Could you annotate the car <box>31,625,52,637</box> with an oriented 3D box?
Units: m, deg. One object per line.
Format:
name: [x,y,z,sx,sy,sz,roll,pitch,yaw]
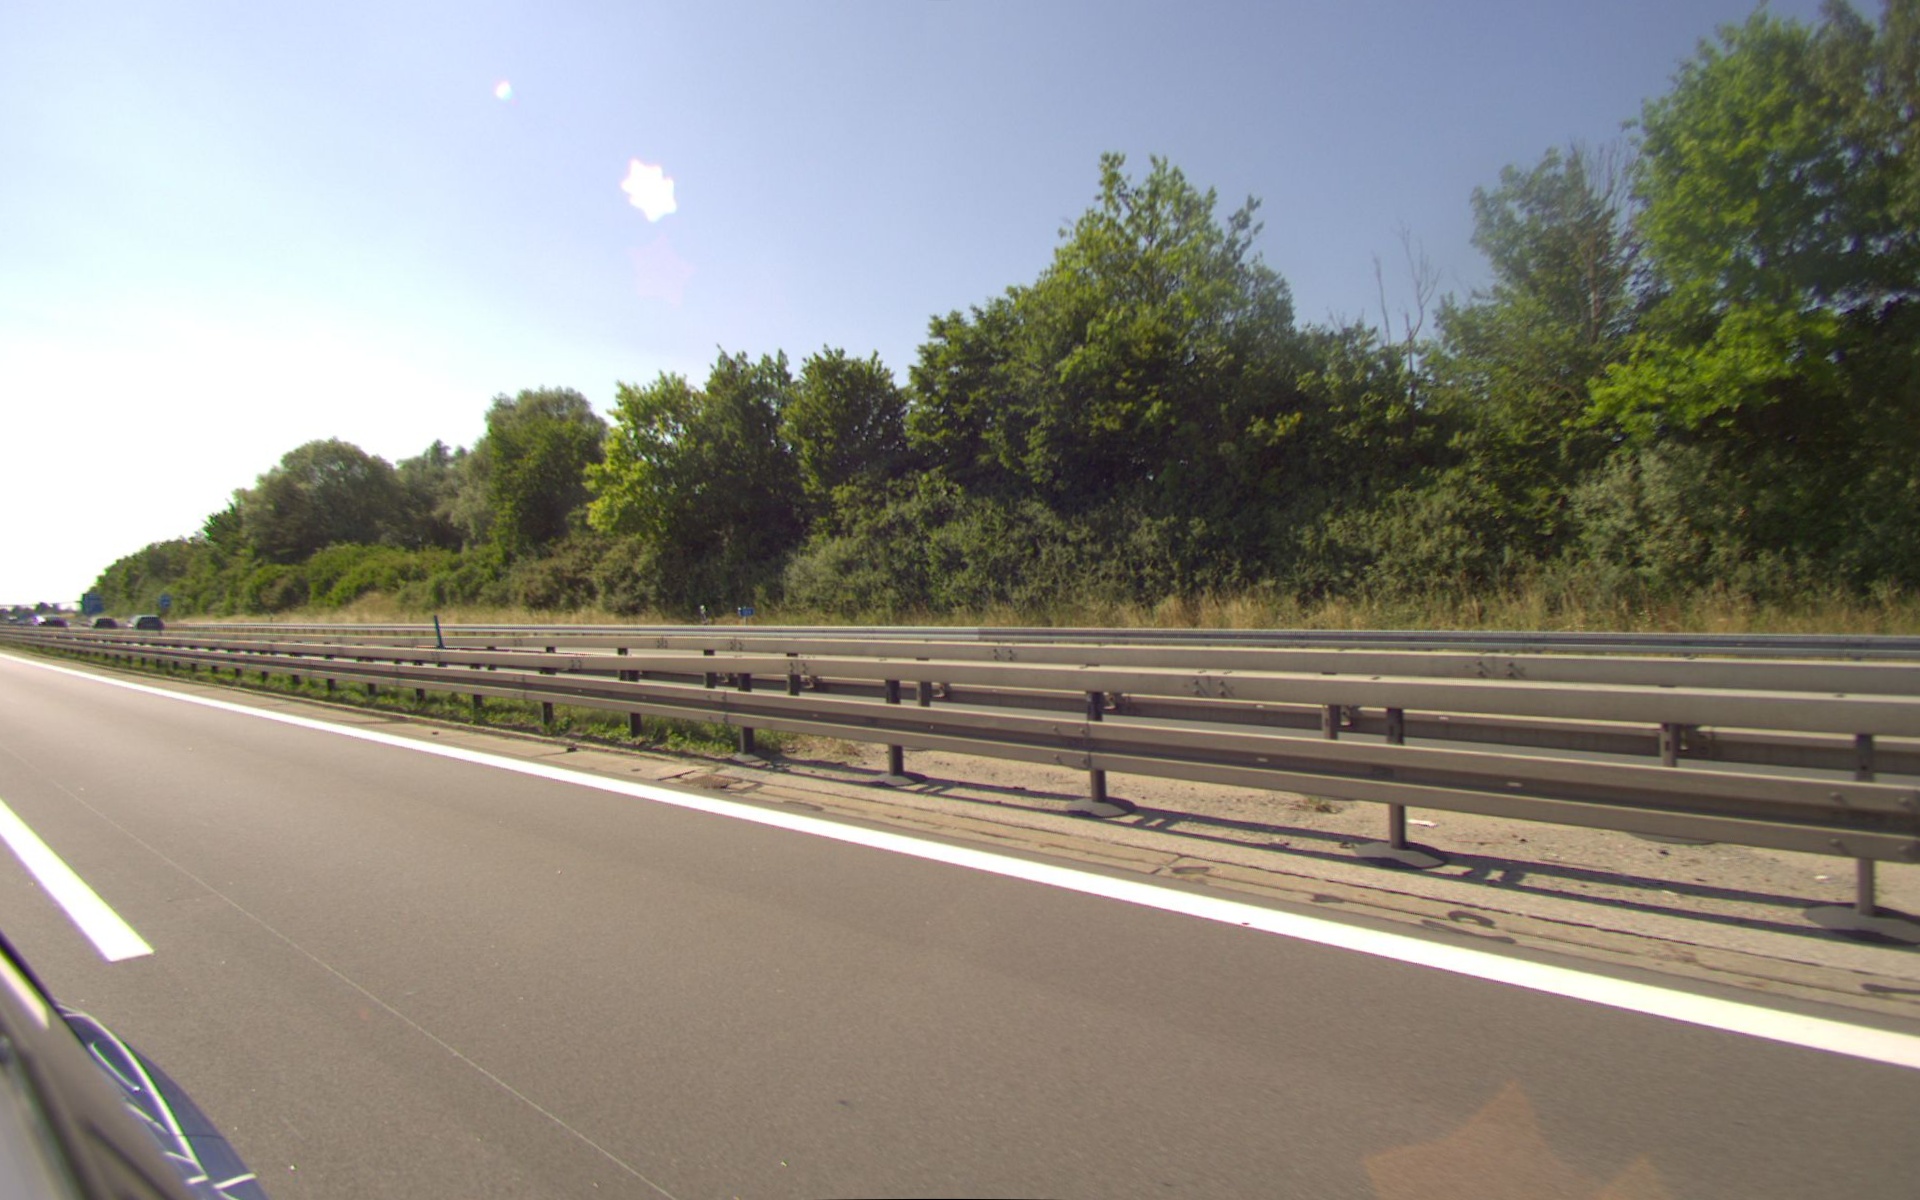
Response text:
car: [-128.544,4.273,141.677,4.580,1.576,1.732,-1,1,43]

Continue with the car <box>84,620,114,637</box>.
car: [-77.884,2.554,91.527,4.153,1.473,1.561,-1,0,43]

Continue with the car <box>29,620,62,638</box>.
car: [-76.784,2.401,84.995,3.999,1.433,1.644,-1,0,42]

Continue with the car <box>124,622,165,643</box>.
car: [-58.112,2.297,72.106,3.999,1.433,1.644,-1,0,42]
